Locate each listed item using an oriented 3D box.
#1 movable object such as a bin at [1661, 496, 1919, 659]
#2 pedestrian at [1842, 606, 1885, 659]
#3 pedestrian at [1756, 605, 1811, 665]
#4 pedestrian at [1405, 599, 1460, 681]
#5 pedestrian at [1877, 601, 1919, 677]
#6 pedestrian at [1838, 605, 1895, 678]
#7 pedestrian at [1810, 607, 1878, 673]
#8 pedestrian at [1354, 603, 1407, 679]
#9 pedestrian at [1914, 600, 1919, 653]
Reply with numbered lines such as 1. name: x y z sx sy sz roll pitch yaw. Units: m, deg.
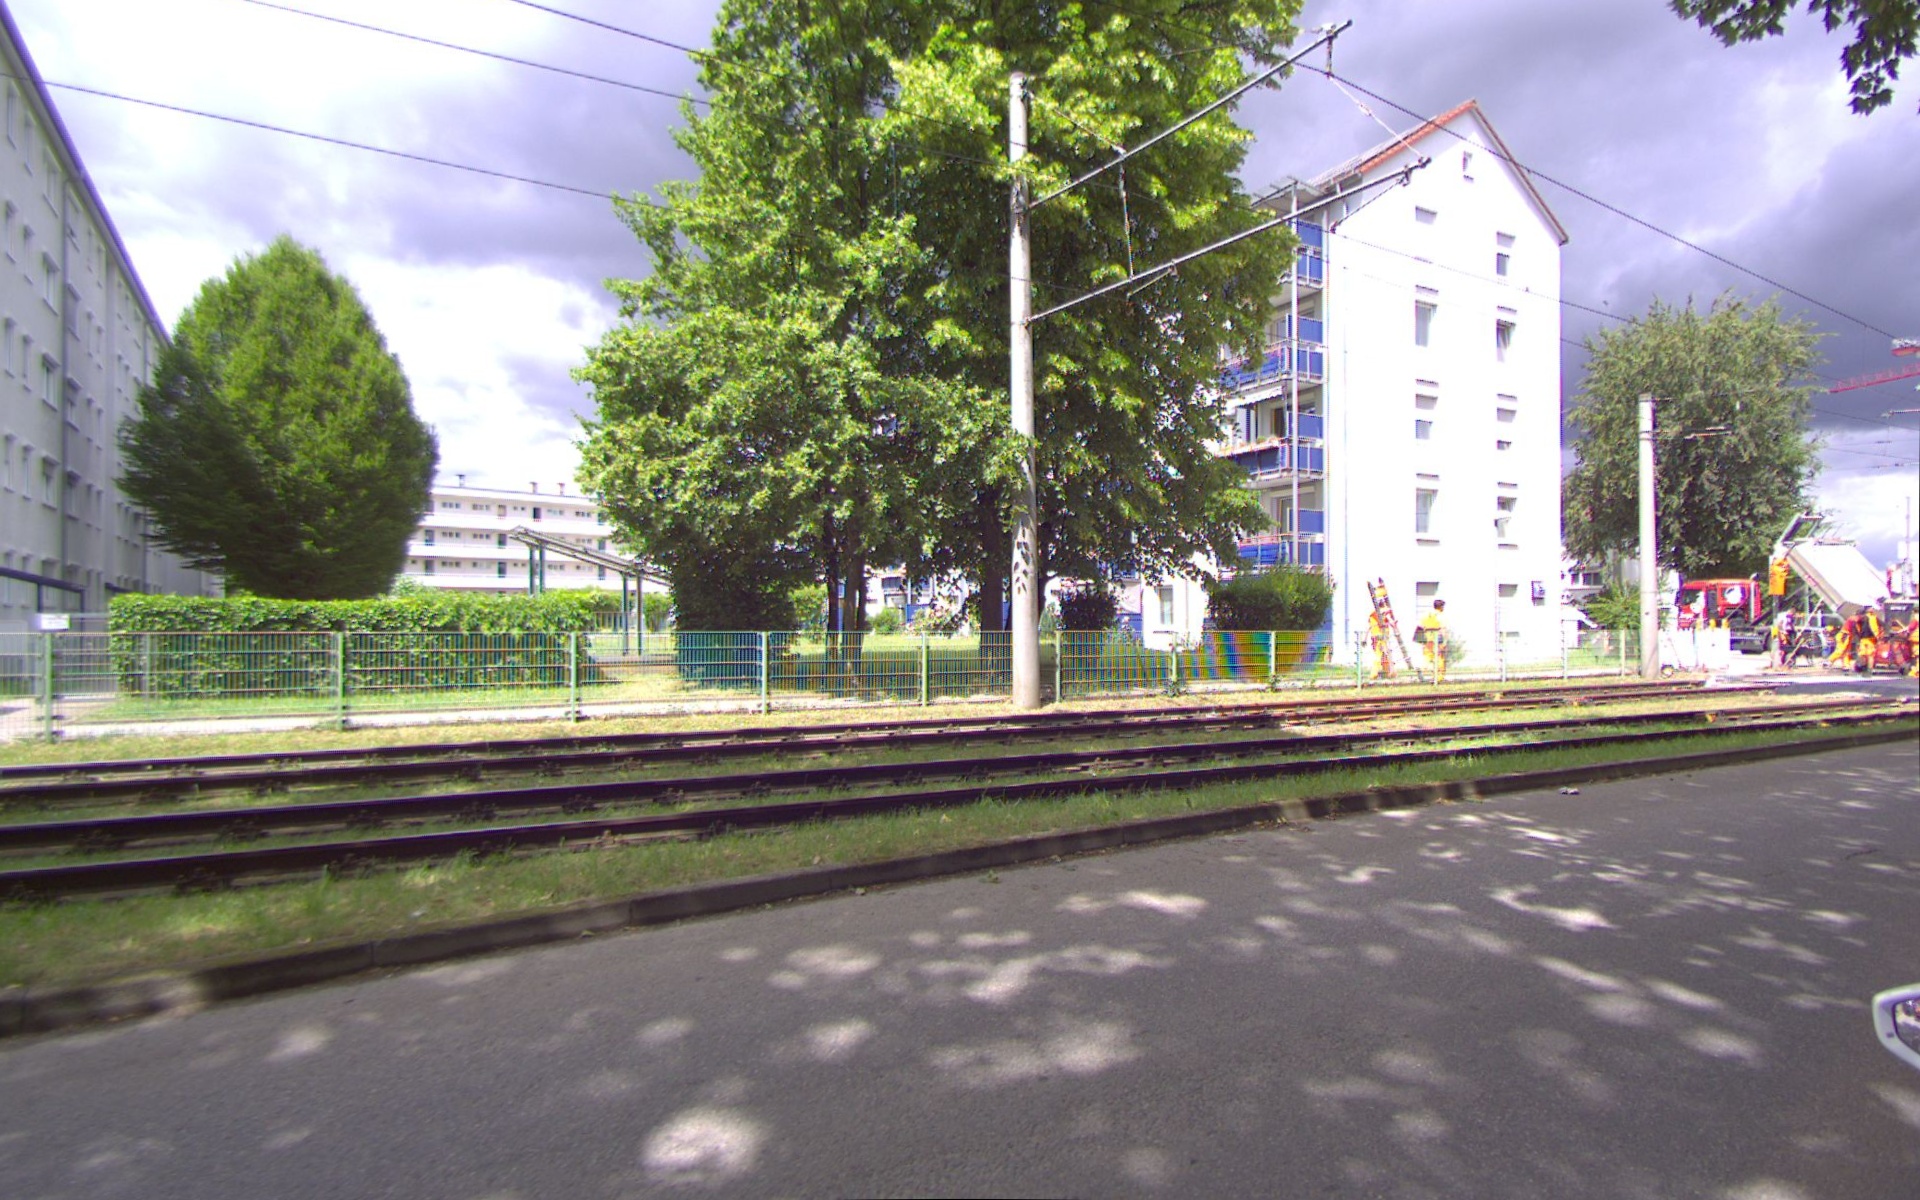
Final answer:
1. movable object such as a bin: 31.797 -0.720 38.795 2.612 5.487 9.229 1 0 -3
2. pedestrian: 28.907 1.021 32.133 0.891 1.667 0.879 1 0 -37
3. pedestrian: 23.527 0.989 28.695 0.870 1.667 0.837 1 0 2
4. pedestrian: 10.302 0.865 21.896 0.856 1.741 0.696 1 0 -30
5. pedestrian: 24.017 0.983 25.547 0.873 1.892 0.835 1 0 32
6. pedestrian: 22.863 1.038 25.346 0.828 1.784 0.880 1 0 -33
7. pedestrian: 23.947 1.069 27.225 1.088 1.738 0.888 1 0 16
8. pedestrian: 9.432 0.906 22.529 0.856 1.647 0.728 1 0 -30
9. pedestrian: 34.377 0.940 35.542 0.881 1.892 0.827 1 0 -41
